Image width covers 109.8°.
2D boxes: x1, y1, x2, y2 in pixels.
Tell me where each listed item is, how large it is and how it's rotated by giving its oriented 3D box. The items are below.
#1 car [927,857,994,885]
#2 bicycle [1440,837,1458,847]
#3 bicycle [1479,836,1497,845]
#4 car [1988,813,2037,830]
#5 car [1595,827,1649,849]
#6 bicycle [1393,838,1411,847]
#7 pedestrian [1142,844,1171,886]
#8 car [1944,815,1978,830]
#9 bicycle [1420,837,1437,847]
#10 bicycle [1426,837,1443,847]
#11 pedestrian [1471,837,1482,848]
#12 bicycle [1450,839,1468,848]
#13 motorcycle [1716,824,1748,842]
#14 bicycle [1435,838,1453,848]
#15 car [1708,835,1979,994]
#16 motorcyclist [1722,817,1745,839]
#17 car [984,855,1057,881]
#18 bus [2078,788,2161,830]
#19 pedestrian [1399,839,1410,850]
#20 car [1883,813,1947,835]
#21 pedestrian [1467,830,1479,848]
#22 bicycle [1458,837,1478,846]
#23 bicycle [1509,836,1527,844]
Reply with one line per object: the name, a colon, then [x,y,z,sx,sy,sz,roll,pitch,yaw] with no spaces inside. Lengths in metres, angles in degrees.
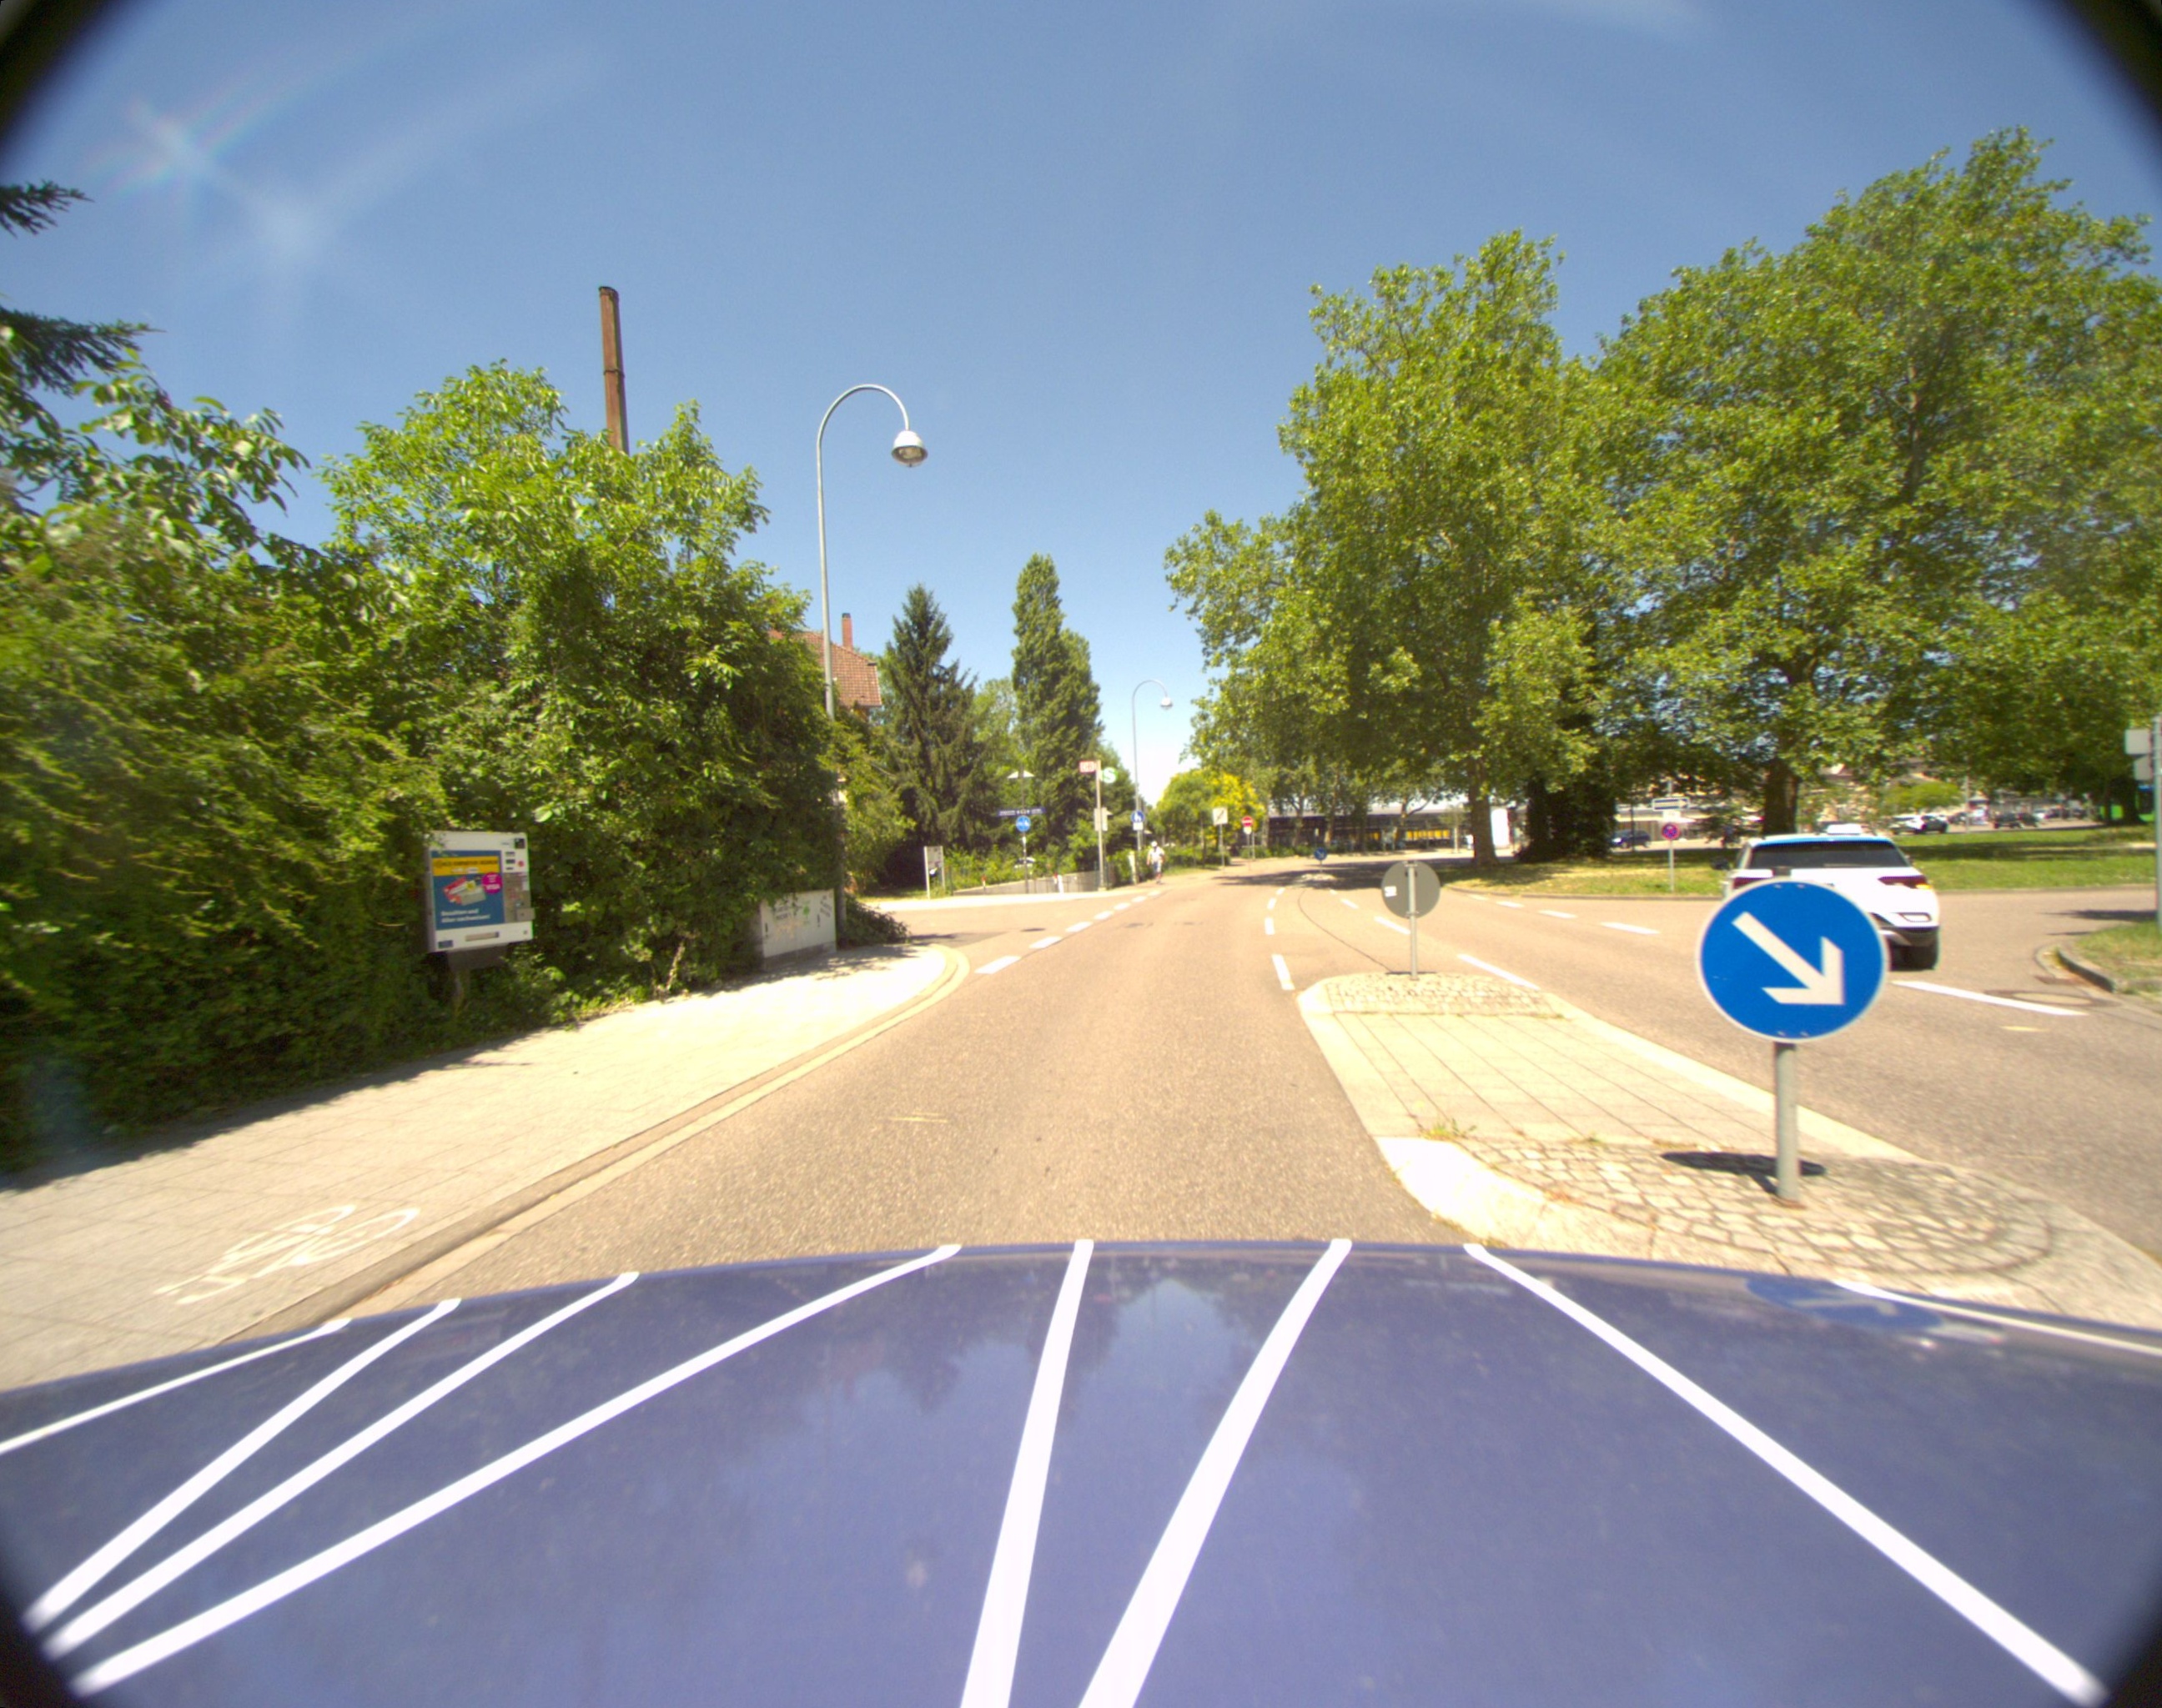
car: [-7.552,1.060,47.432,3.971,1.527,1.654,-3,0,-13]
bicycle: [48.248,-1.554,99.504,2.170,1.068,0.669,-6,3,-14]
bicycle: [54.407,-1.833,101.665,2.170,1.068,0.669,-6,3,-14]
car: [84.101,-2.913,68.580,4.004,1.409,1.643,-2,1,-22]
car: [42.127,-1.237,59.145,4.188,1.536,1.775,-3,2,-30]
bicycle: [43.007,-1.527,101.757,0.671,1.067,2.164,-7,3,-30]
pedestrian: [3.277,0.462,32.744,0.912,1.762,0.917,1,2,32]
car: [135.325,-4.863,116.863,4.002,2.002,1.997,-2,0,-17]
bicycle: [47.248,-1.620,103.287,2.170,1.068,0.669,-6,3,-14]
bicycle: [47.517,-1.630,102.121,2.170,1.068,0.669,-6,3,-14]
pedestrian: [48.841,-1.434,93.830,0.831,1.297,0.961,-3,1,-16]
bicycle: [47.746,-1.343,96.045,0.671,1.067,2.165,-6,3,-20]
motorcycle: [48.958,-1.573,57.163,2.052,1.224,0.809,-3,1,-16]
bicycle: [48.022,-1.493,100.513,2.170,1.068,0.669,-6,3,-14]
car: [9.727,0.619,10.099,1.873,1.613,4.312,-3,0,37]
motorcyclist: [49.093,-1.945,57.208,1.105,1.546,0.809,-3,1,-16]
car: [-4.073,0.910,51.063,4.502,1.491,1.768,-3,0,-17]
bus: [92.939,-4.019,66.678,11.865,3.283,2.812,-2,0,-18]
pedestrian: [38.505,-1.124,90.479,0.869,1.267,0.829,-3,1,-21]
car: [70.640,-2.523,64.362,4.326,1.737,2.046,-1,2,-18]
pedestrian: [38.468,-1.503,74.575,0.913,1.726,0.676,-2,1,21]
bicycle: [51.947,-1.679,101.937,0.864,1.067,2.164,-7,4,-35]
bicycle: [57.132,-1.851,99.422,0.670,1.067,2.166,-6,3,-13]
